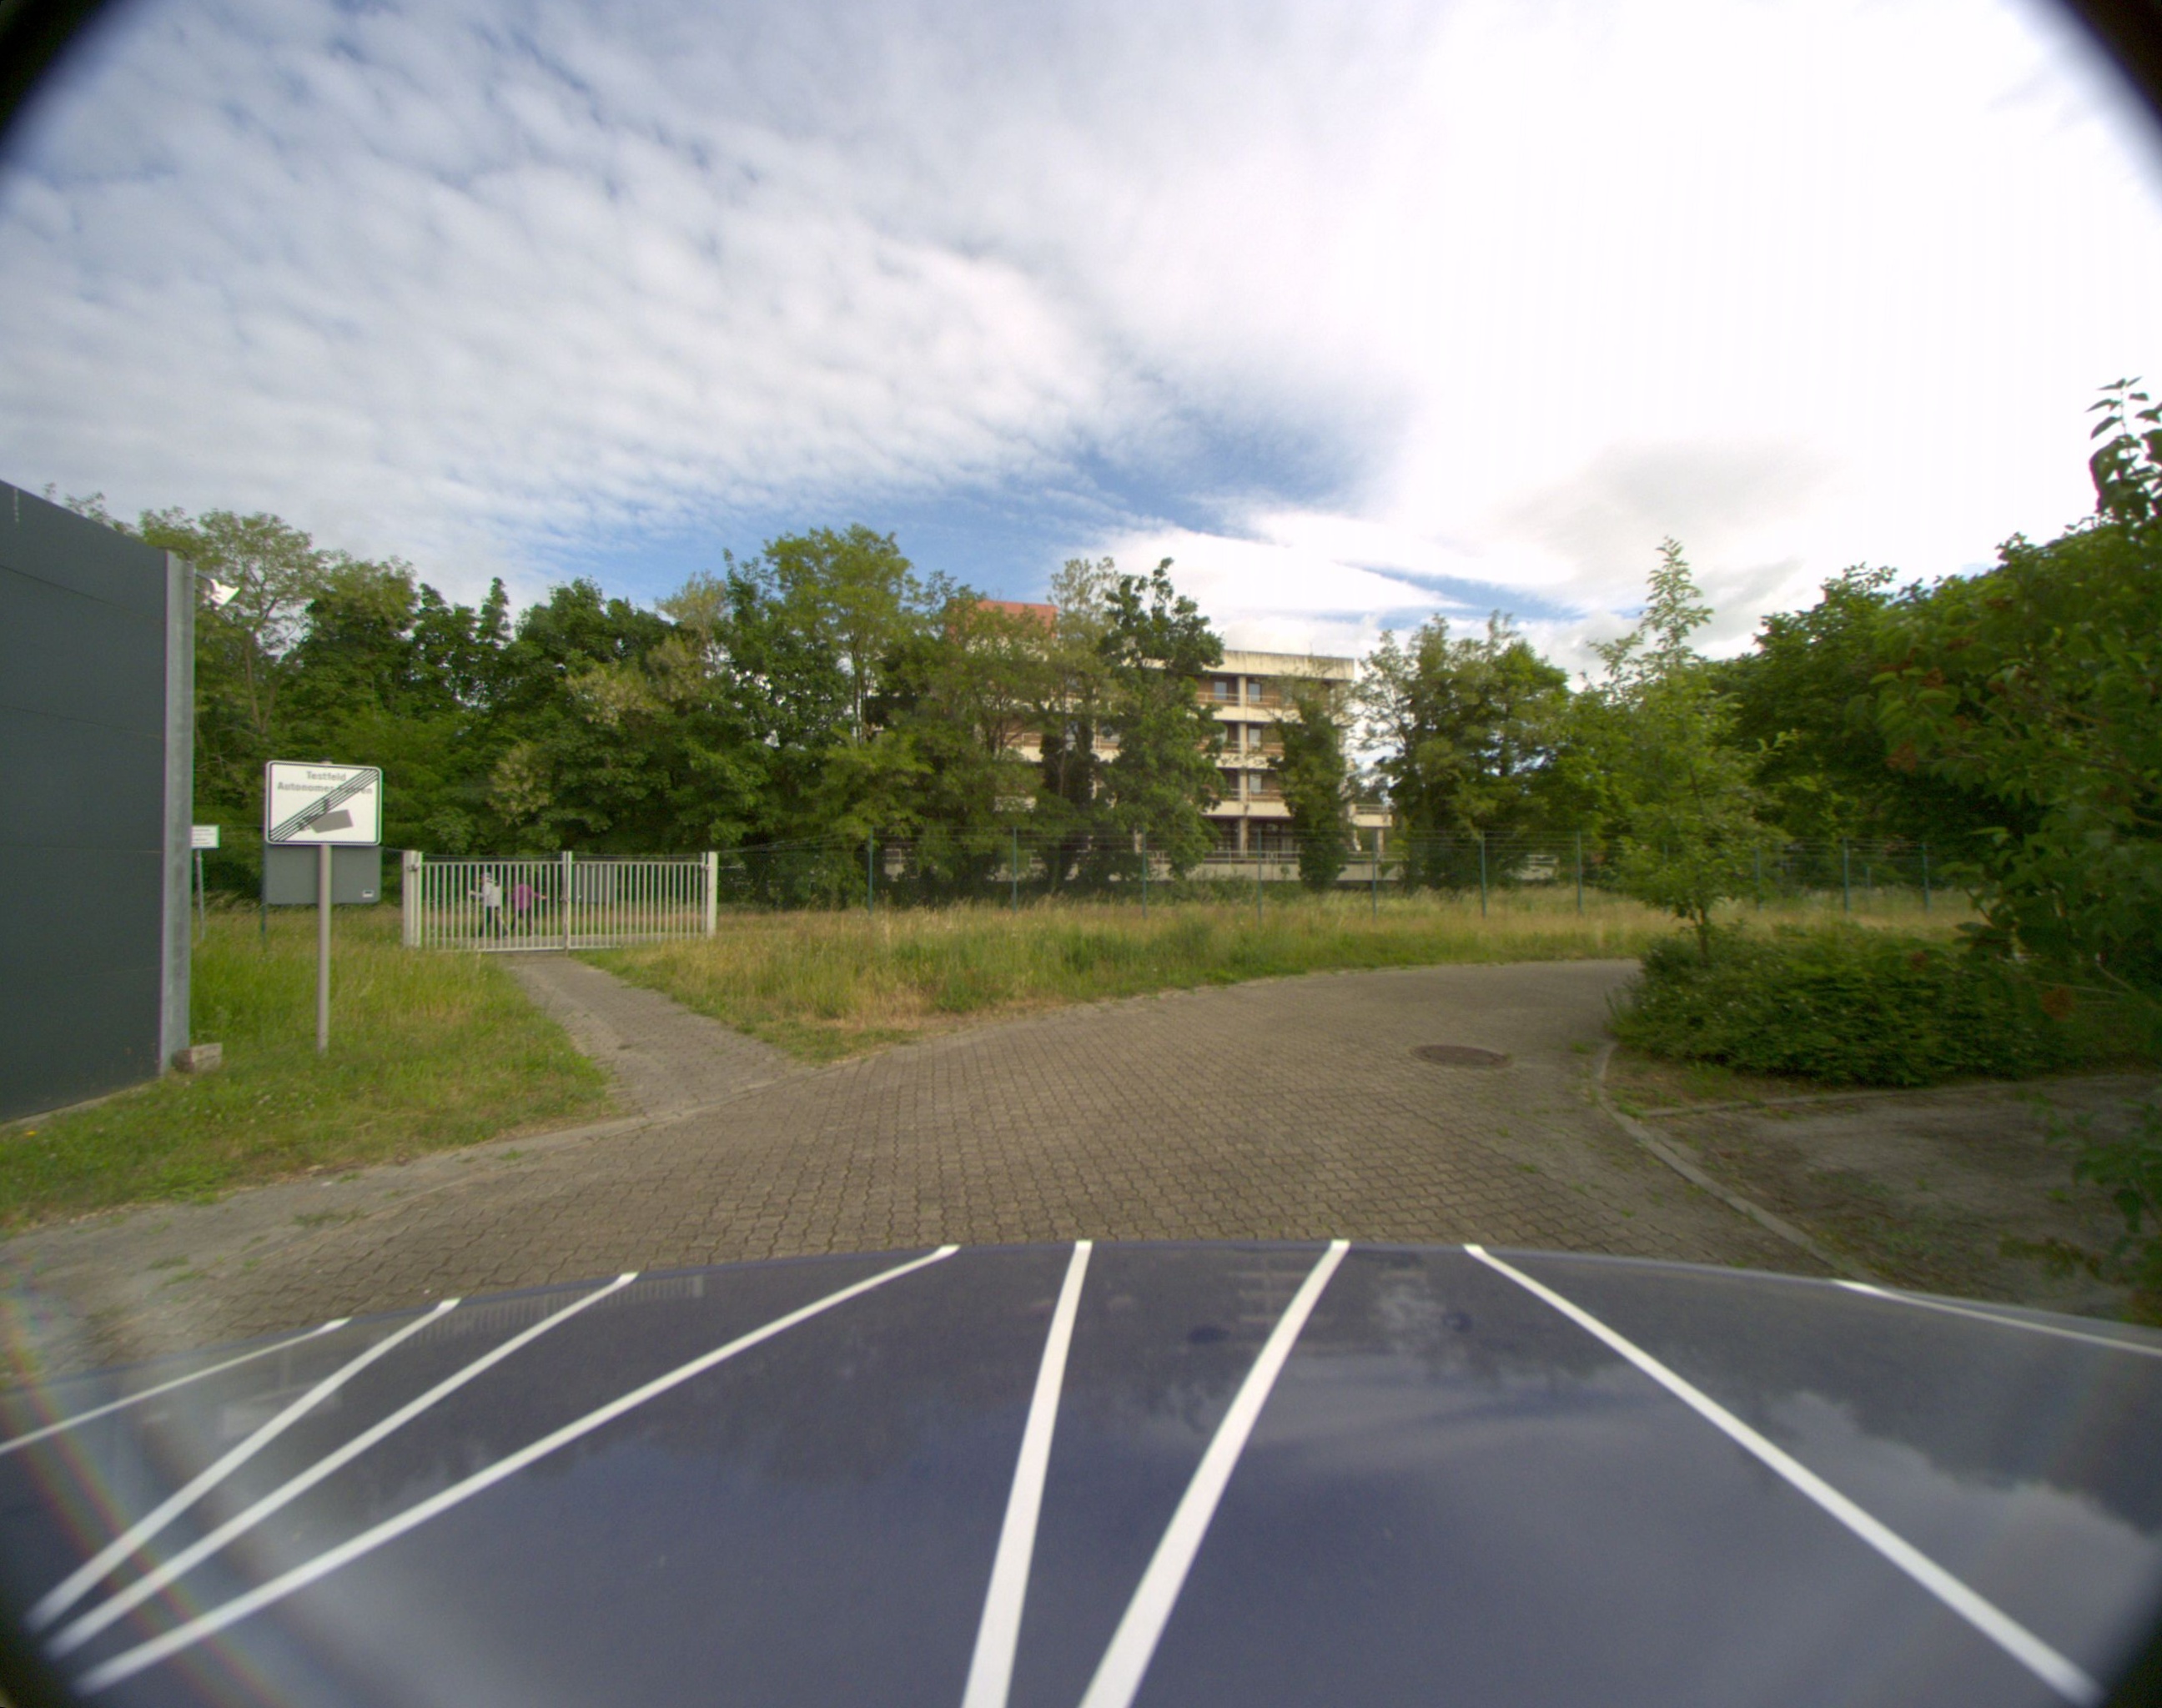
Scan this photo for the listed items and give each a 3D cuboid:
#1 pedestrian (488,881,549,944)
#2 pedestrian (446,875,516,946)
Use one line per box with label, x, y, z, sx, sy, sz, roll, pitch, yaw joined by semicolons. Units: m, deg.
pedestrian;-14.420;1.481;19.496;1.035;1.565;0.736;0;0;-10
pedestrian;-14.645;1.362;18.582;1.037;1.672;0.844;0;0;-7
